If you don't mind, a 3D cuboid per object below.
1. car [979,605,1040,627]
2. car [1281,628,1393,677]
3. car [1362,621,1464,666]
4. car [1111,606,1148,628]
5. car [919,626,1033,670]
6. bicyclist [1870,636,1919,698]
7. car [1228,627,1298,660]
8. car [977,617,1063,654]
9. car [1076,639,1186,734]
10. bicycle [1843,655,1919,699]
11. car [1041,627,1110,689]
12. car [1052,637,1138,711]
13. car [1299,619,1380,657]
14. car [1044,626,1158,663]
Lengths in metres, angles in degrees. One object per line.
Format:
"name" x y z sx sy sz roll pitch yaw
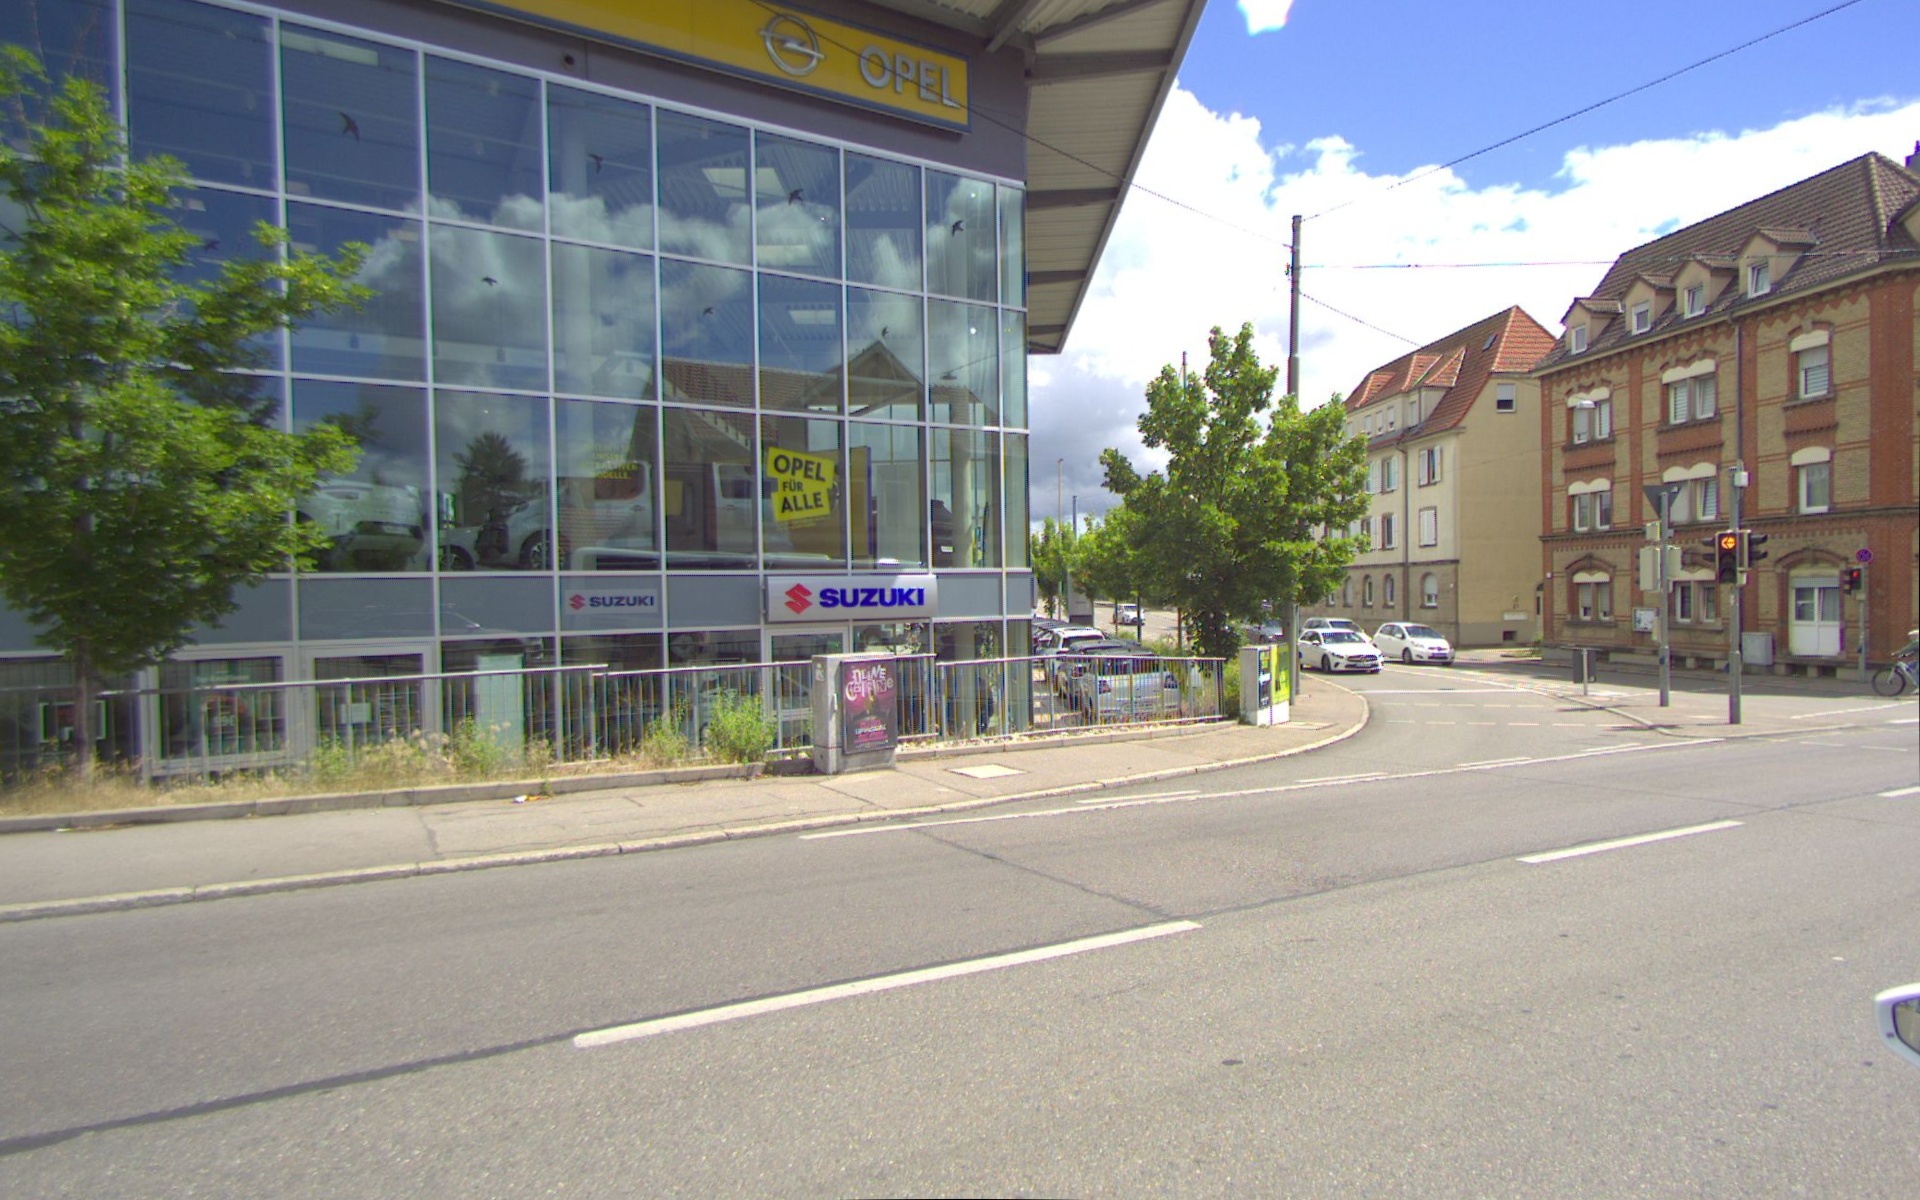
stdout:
"car" 3.215 1.054 66.203 3.921 1.311 1.818 1 -1 0
"car" 12.664 1.722 34.059 1.827 1.466 4.388 -1 -1 -5
"car" 17.073 1.609 38.093 1.670 1.517 3.995 1 -1 -7
"car" 12.917 1.246 76.805 1.961 1.607 4.345 1 0 -2
"car" 0.597 1.742 37.214 3.919 1.478 1.605 1 -1 15
"bicyclist" 23.817 1.669 25.374 0.581 1.519 1.069 1 -1 -21
"car" 15.344 2.185 51.025 1.963 1.539 3.996 1 -1 -7
"car" 2.659 1.585 45.874 1.974 1.599 4.476 1 -1 -26
"car" 3.404 1.689 20.557 1.720 1.596 3.687 2 -1 3
"bicycle" 23.796 1.943 25.402 0.597 1.033 2.181 1 -1 -21
"car" 3.289 1.633 29.100 1.487 1.596 3.414 1 -1 -2
"car" 3.239 1.754 24.706 1.487 1.543 3.792 1 -1 -2
"car" 16.747 1.642 44.518 1.715 1.539 3.996 1 -1 -7
"car" 5.176 1.633 37.216 3.921 1.202 1.818 1 -1 0
